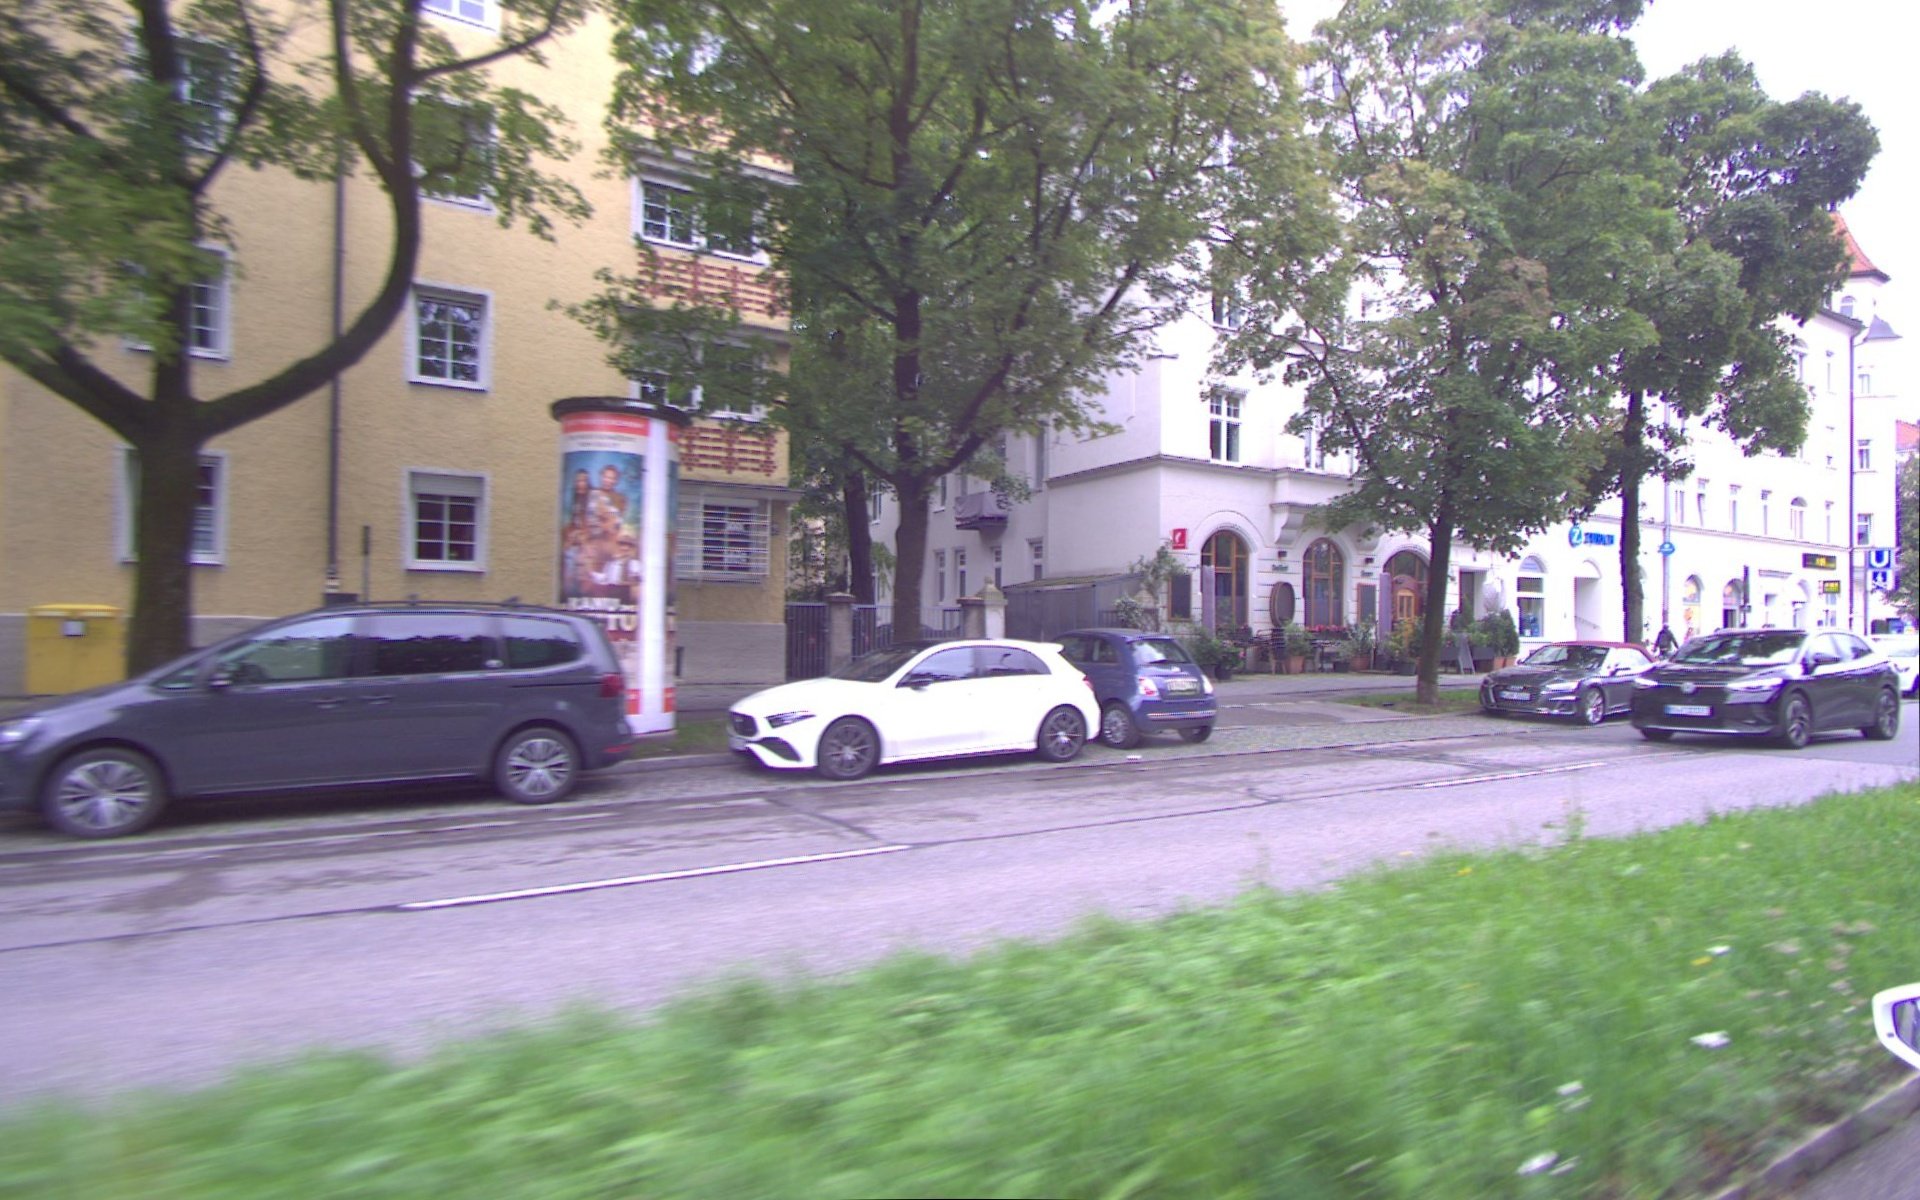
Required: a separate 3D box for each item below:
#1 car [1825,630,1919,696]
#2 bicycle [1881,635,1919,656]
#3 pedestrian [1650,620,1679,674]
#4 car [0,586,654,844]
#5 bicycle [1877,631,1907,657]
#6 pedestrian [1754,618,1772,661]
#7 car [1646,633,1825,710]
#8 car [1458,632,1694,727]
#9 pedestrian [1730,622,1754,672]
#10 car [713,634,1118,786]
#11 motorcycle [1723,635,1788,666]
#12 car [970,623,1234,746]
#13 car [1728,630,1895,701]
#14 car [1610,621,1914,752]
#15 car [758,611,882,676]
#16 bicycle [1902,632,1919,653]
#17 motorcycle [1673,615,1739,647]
[{"bbox_3d":[24.696,1.621,26.504,3.743,1.606,1.642,1,-1,-29],"label":"car"},{"bbox_3d":[58.881,2.846,62.582,0.759,1.252,2.162,1,-1,-39],"label":"bicycle"},{"bbox_3d":[22.968,1.521,32.747,0.762,1.719,0.540,1,-1,-32],"label":"pedestrian"},{"bbox_3d":[-5.244,0.831,8.636,4.712,1.751,1.801,1,-1,-31],"label":"car"},{"bbox_3d":[37.480,1.766,40.386,1.527,0.993,0.470,1,-1,-31],"label":"bicycle"},{"bbox_3d":[31.476,1.543,39.357,0.776,1.653,0.418,1,-1,-40],"label":"pedestrian"},{"bbox_3d":[17.012,1.503,21.997,3.914,1.527,1.802,1,-1,-31],"label":"car"},{"bbox_3d":[11.428,1.390,18.563,4.591,1.527,1.802,1,-1,-31],"label":"car"},{"bbox_3d":[27.641,1.652,35.523,0.583,1.719,0.943,0,-1,32],"label":"pedestrian"},{"bbox_3d":[-0.430,1.124,11.481,4.353,1.421,1.718,1,-1,-31],"label":"car"},{"bbox_3d":[31.099,1.973,39.292,1.947,1.137,0.610,1,-1,10],"label":"motorcycle"},{"bbox_3d":[1.886,1.089,14.448,1.713,1.483,3.869,1,-1,-31],"label":"car"},{"bbox_3d":[20.501,1.521,24.144,4.241,1.527,1.802,1,-1,-31],"label":"car"},{"bbox_3d":[11.529,1.159,14.377,4.566,1.605,1.867,1,-3,-30],"label":"car"},{"bbox_3d":[-3.653,1.064,25.676,1.738,1.530,3.869,1,-1,-31],"label":"car"},{"bbox_3d":[59.956,2.646,62.144,0.786,1.267,2.373,2,0,-40],"label":"bicycle"},{"bbox_3d":[28.470,1.171,38.344,1.947,1.145,0.610,1,-1,10],"label":"motorcycle"}]
